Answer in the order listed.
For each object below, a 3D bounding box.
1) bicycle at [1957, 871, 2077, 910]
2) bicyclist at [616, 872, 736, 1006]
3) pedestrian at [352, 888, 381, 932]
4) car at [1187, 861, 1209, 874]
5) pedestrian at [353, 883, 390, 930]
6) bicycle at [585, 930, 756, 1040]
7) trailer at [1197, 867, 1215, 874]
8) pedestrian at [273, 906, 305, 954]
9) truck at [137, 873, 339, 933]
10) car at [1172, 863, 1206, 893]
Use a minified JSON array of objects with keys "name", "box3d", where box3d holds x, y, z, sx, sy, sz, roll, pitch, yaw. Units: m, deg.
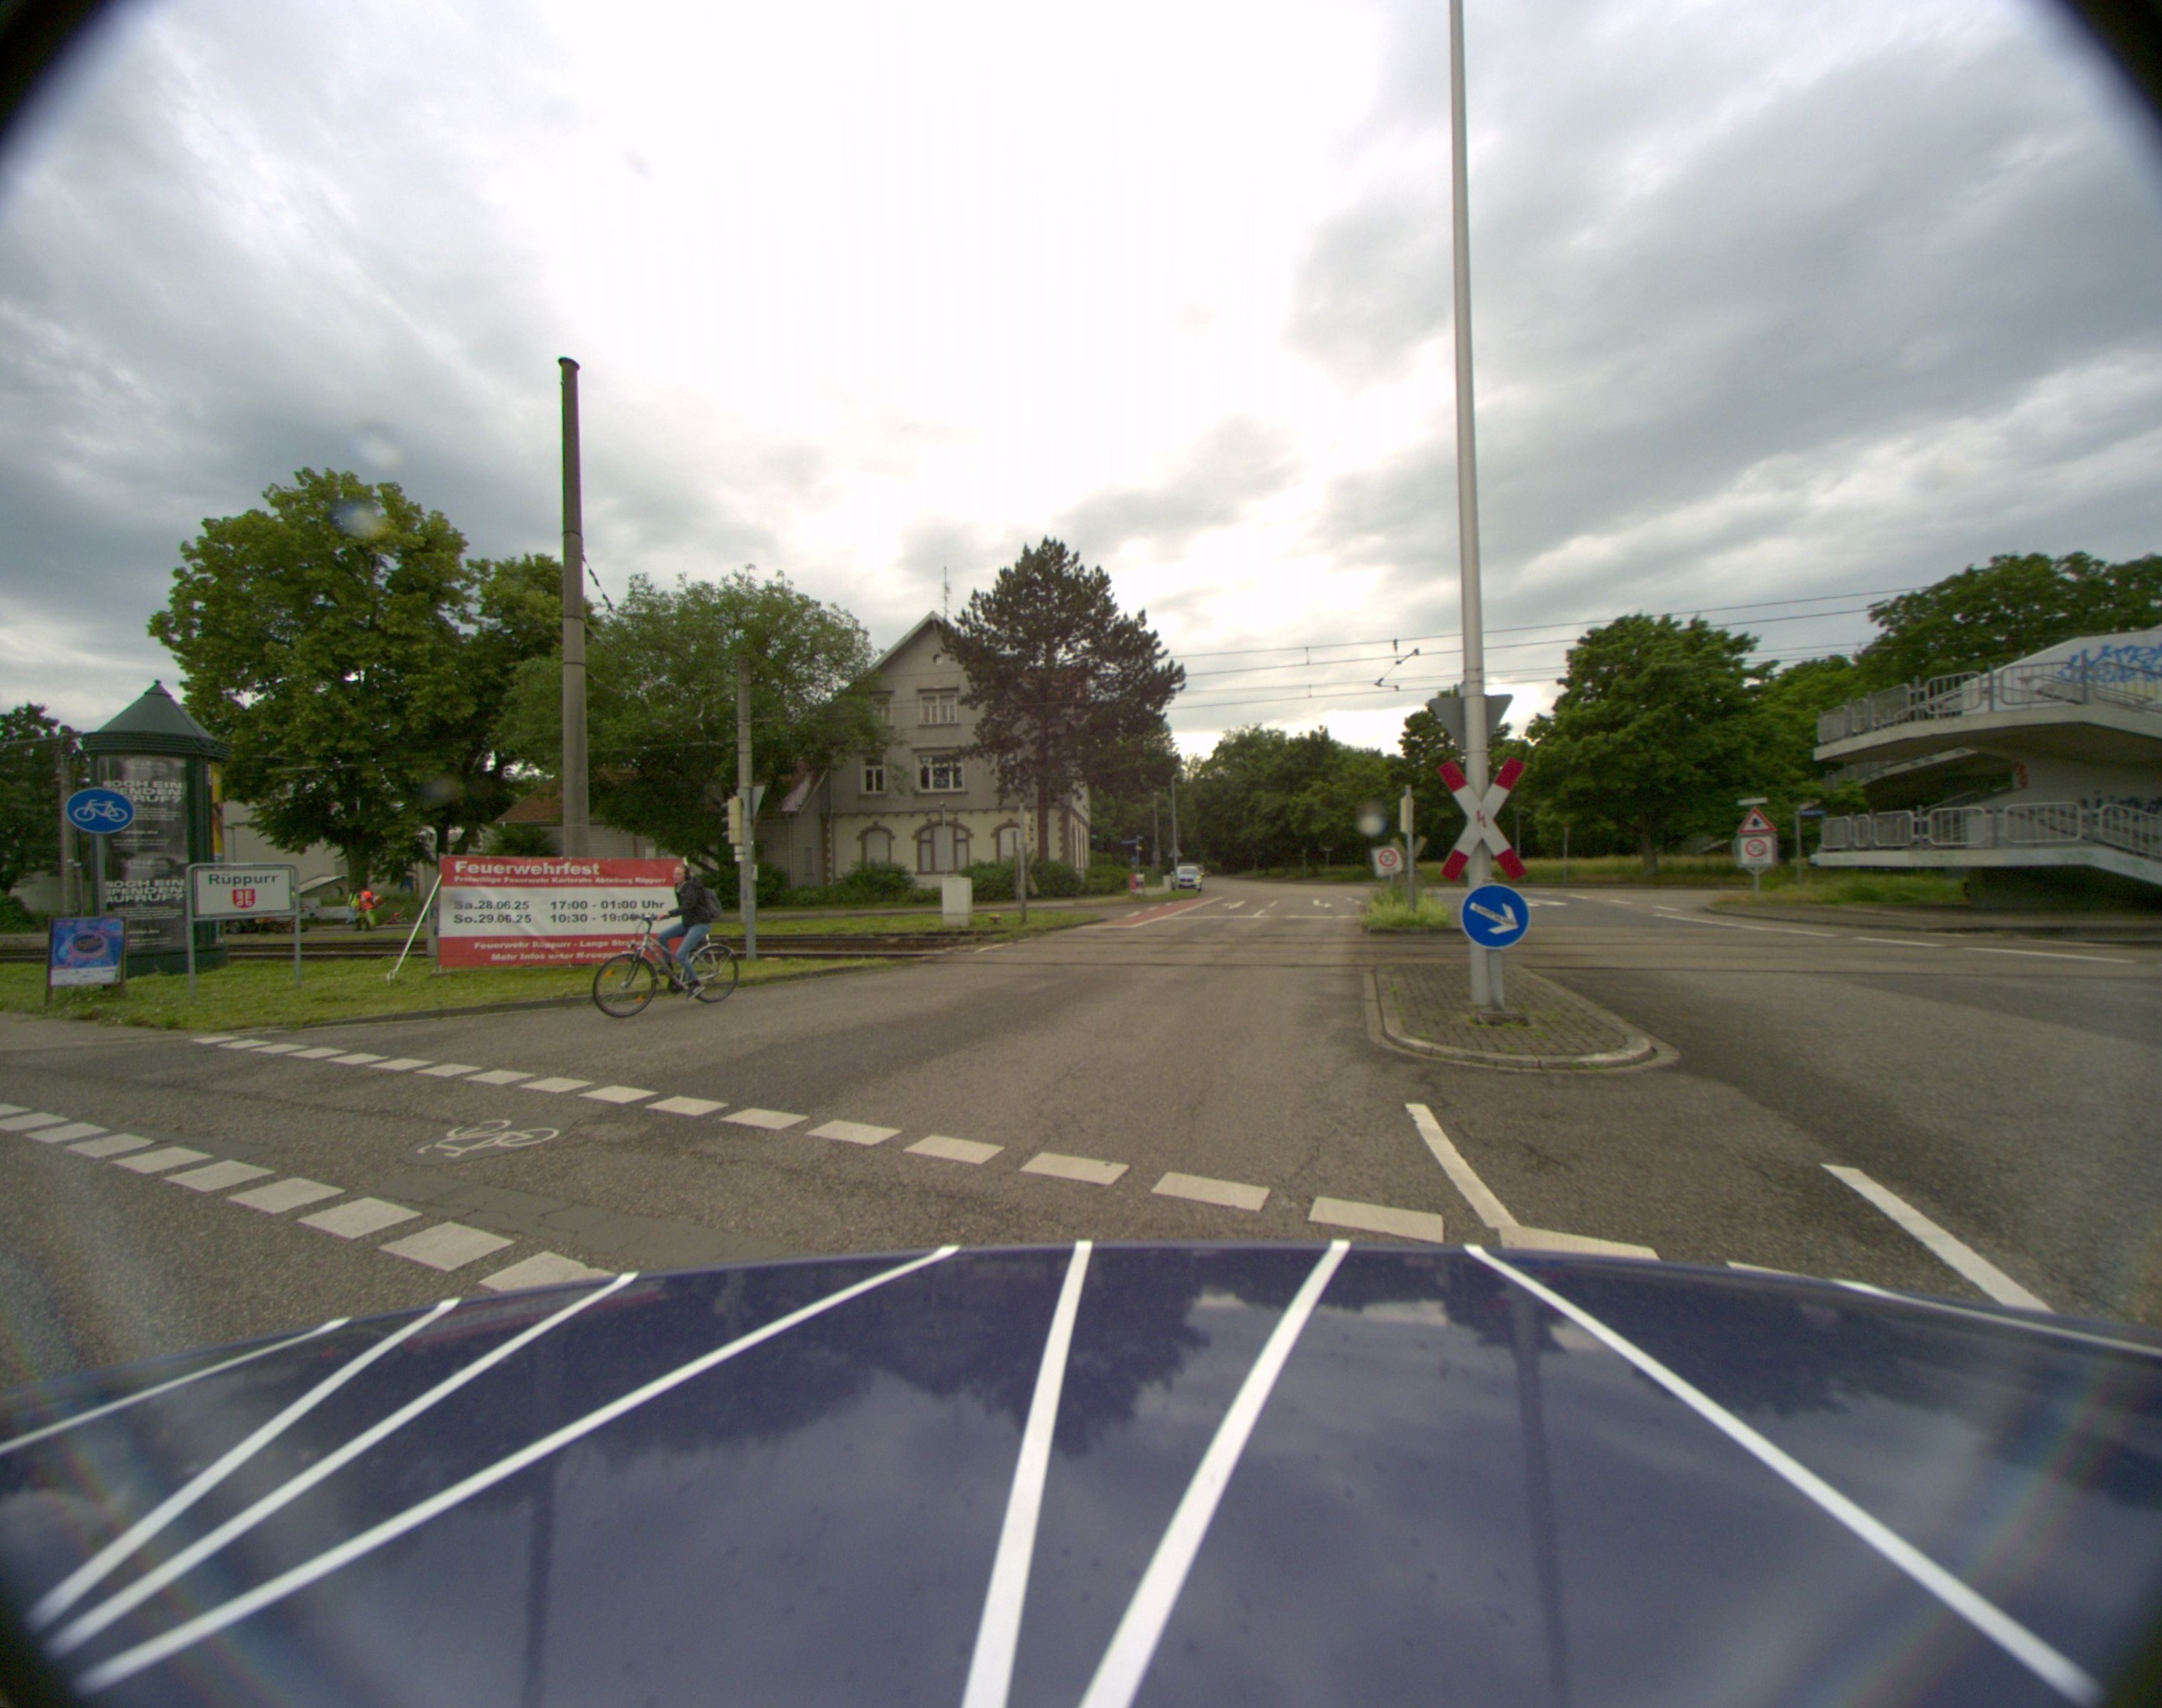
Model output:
[{"name":"bicycle","box3d":[22.304,0.869,18.150,1.738,0.880,0.395,-2,-1,42]},{"name":"bicyclist","box3d":[-4.652,0.952,8.787,0.622,1.416,0.962,-6,-1,17]},{"name":"pedestrian","box3d":[-29.225,2.266,31.081,0.575,1.752,0.636,-2,0,-2]},{"name":"car","box3d":[17.314,2.046,112.662,2.095,1.846,4.219,-2,-1,-8]},{"name":"pedestrian","box3d":[-28.481,2.113,30.515,0.679,1.843,0.875,-2,-1,20]},{"name":"bicycle","box3d":[-4.648,1.441,8.801,0.383,0.974,2.033,-1,-2,18]},{"name":"trailer","box3d":[17.891,2.361,108.851,1.572,0.980,3.463,-2,-1,-7]},{"name":"pedestrian","box3d":[-31.840,3.039,30.551,0.713,1.829,0.608,-1,0,-27]},{"name":"truck","box3d":[-35.913,2.063,32.470,6.402,2.279,2.607,-2,0,8]},{"name":"car","box3d":[6.806,1.488,48.189,1.934,1.839,4.002,1,0,6]}]
